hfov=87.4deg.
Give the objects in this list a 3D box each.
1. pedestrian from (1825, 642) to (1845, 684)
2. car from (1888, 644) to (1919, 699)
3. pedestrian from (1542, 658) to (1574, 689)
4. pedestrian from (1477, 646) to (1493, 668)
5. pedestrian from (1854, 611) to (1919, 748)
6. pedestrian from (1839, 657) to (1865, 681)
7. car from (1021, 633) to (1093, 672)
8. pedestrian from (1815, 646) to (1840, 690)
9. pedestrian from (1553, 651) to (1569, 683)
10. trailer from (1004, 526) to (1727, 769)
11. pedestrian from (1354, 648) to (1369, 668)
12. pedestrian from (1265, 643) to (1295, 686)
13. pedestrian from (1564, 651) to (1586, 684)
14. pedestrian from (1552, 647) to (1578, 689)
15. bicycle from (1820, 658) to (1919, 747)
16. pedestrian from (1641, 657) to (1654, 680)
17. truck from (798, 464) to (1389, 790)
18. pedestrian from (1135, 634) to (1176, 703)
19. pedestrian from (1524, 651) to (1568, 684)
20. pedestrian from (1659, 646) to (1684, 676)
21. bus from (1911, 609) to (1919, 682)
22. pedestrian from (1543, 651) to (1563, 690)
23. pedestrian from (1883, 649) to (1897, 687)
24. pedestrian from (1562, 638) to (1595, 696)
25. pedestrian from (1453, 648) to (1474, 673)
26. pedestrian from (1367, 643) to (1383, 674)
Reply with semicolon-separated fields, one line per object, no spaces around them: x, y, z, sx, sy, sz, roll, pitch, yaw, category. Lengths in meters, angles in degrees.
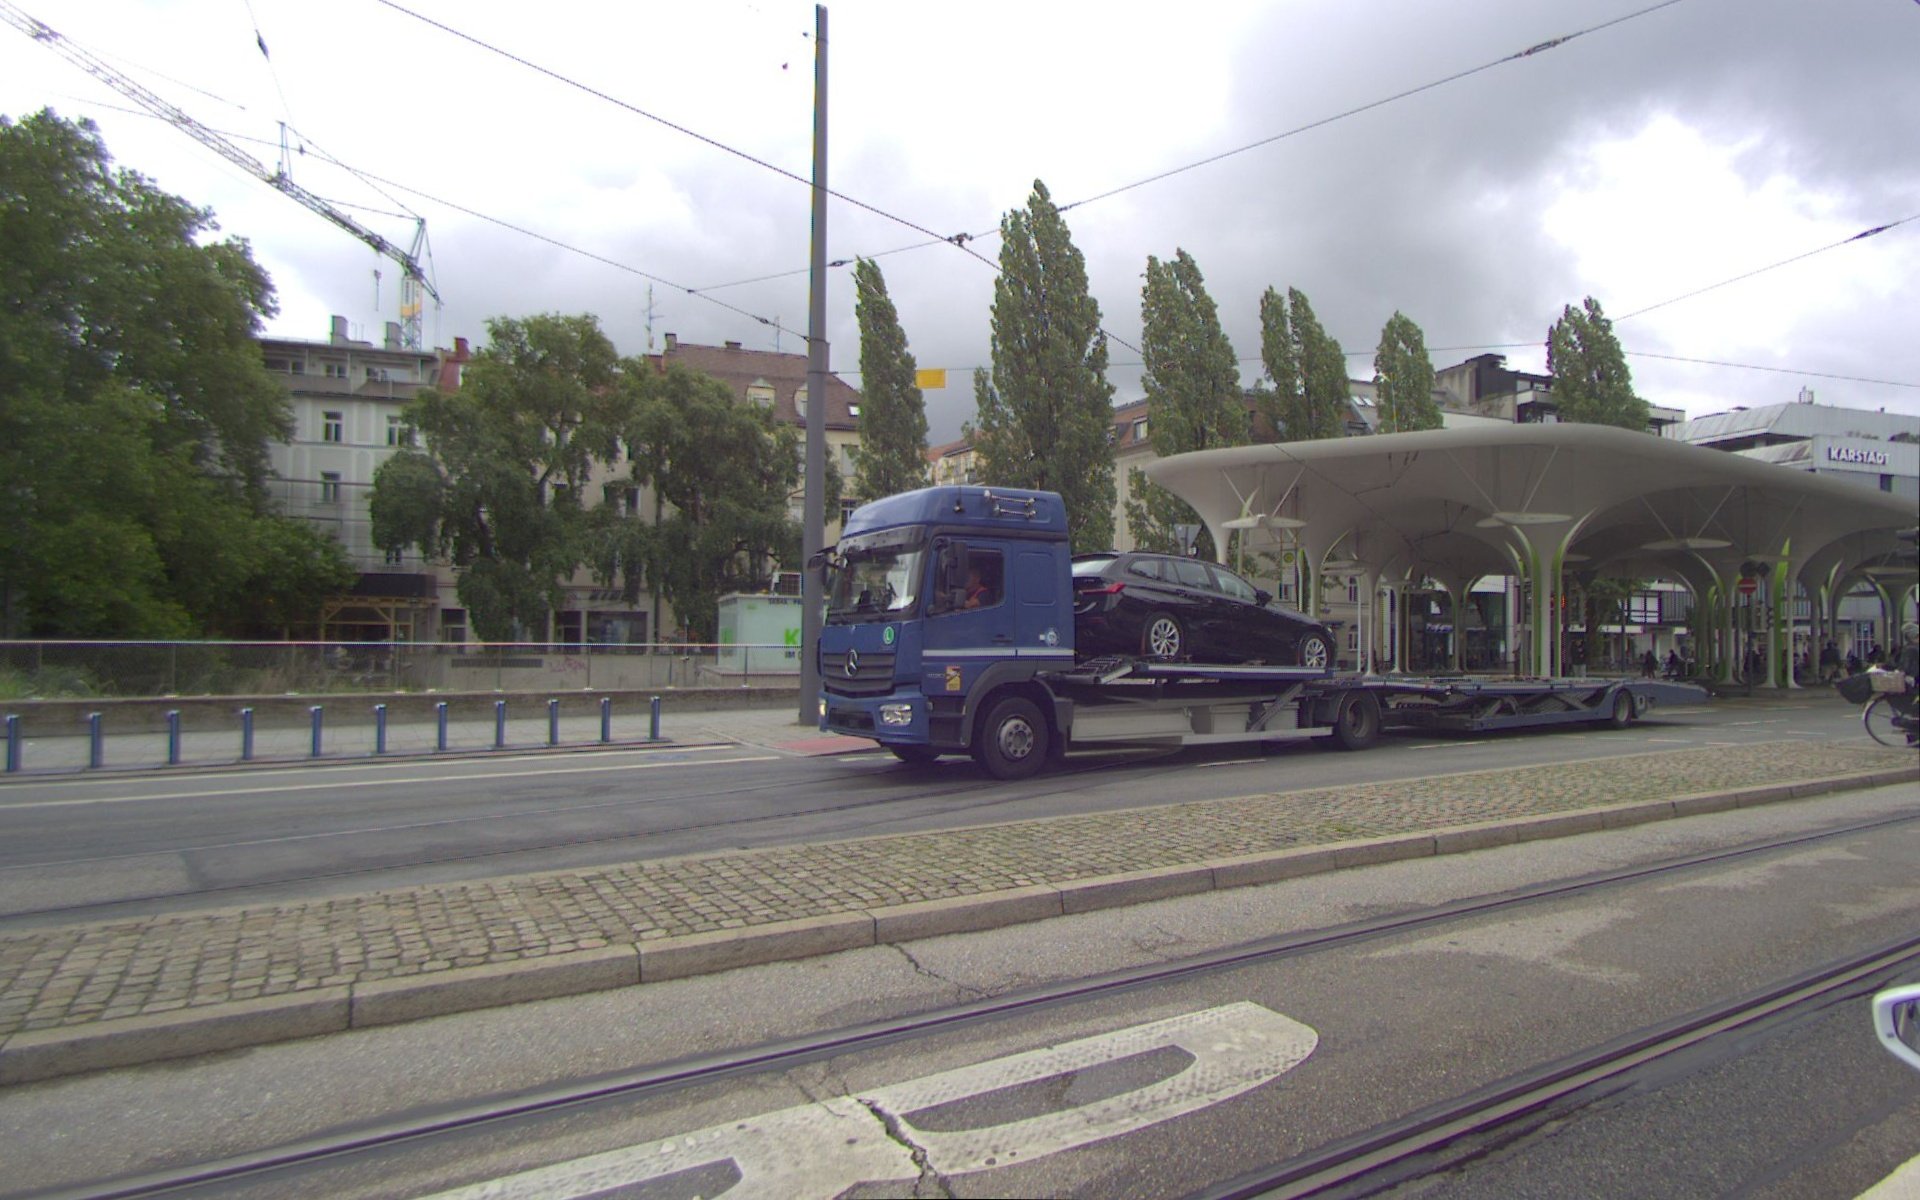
36.762;2.642;42.208;0.558;1.766;0.753;-1;-3;40;pedestrian
30.981;2.215;31.251;4.624;1.659;1.854;2;-4;-31;car
27.433;3.382;46.116;0.829;1.388;0.961;1;-2;-23;pedestrian
40.877;4.461;78.165;0.762;1.683;0.779;1;-2;-20;pedestrian
13.181;1.089;13.931;0.884;1.835;0.857;2;-1;-20;pedestrian
52.803;4.078;59.461;0.822;1.334;0.880;0;-2;17;pedestrian
4.180;2.269;43.919;1.801;1.636;3.987;1;-2;-16;car
35.099;2.748;40.634;0.706;1.744;0.877;-1;-2;43;pedestrian
29.849;3.328;49.879;0.652;1.585;0.640;-1;-2;35;pedestrian
7.772;0.825;16.547;15.471;2.717;2.596;2;-4;-33;trailer
21.847;3.154;54.644;0.573;1.098;0.513;2;-2;-37;pedestrian
15.410;3.100;48.427;1.010;2.040;1.002;1;-2;-14;pedestrian
30.990;3.412;50.625;0.690;1.639;0.644;2;-2;-26;pedestrian
25.773;2.870;42.775;0.799;1.750;0.668;-1;-3;44;pedestrian
13.292;1.431;13.785;2.193;1.165;0.505;1;-1;33;bicycle
39.949;3.979;58.367;0.564;1.282;0.519;-1;-2;27;pedestrian
1.967;0.430;12.774;7.607;3.127;2.552;2;-4;-33;truck
4.827;1.683;24.807;0.728;1.650;0.740;-1;-2;39;pedestrian
22.561;2.582;38.689;1.248;1.246;0.811;1;-2;-11;pedestrian
41.189;3.533;58.183;0.885;1.753;0.867;1;-2;-30;pedestrian
45.427;2.015;44.178;10.400;3.046;2.647;2;-4;-32;bus
24.500;2.914;41.498;0.586;1.565;0.634;-1;-3;43;pedestrian
40.264;2.952;43.493;0.387;1.626;0.389;2;-2;-38;pedestrian
20.190;2.181;32.807;0.652;1.863;0.811;0;-2;12;pedestrian
35.890;4.303;71.635;0.981;1.796;0.931;1;-2;-10;pedestrian
22.718;3.218;55.021;0.635;1.669;0.596;2;-2;-37;pedestrian
